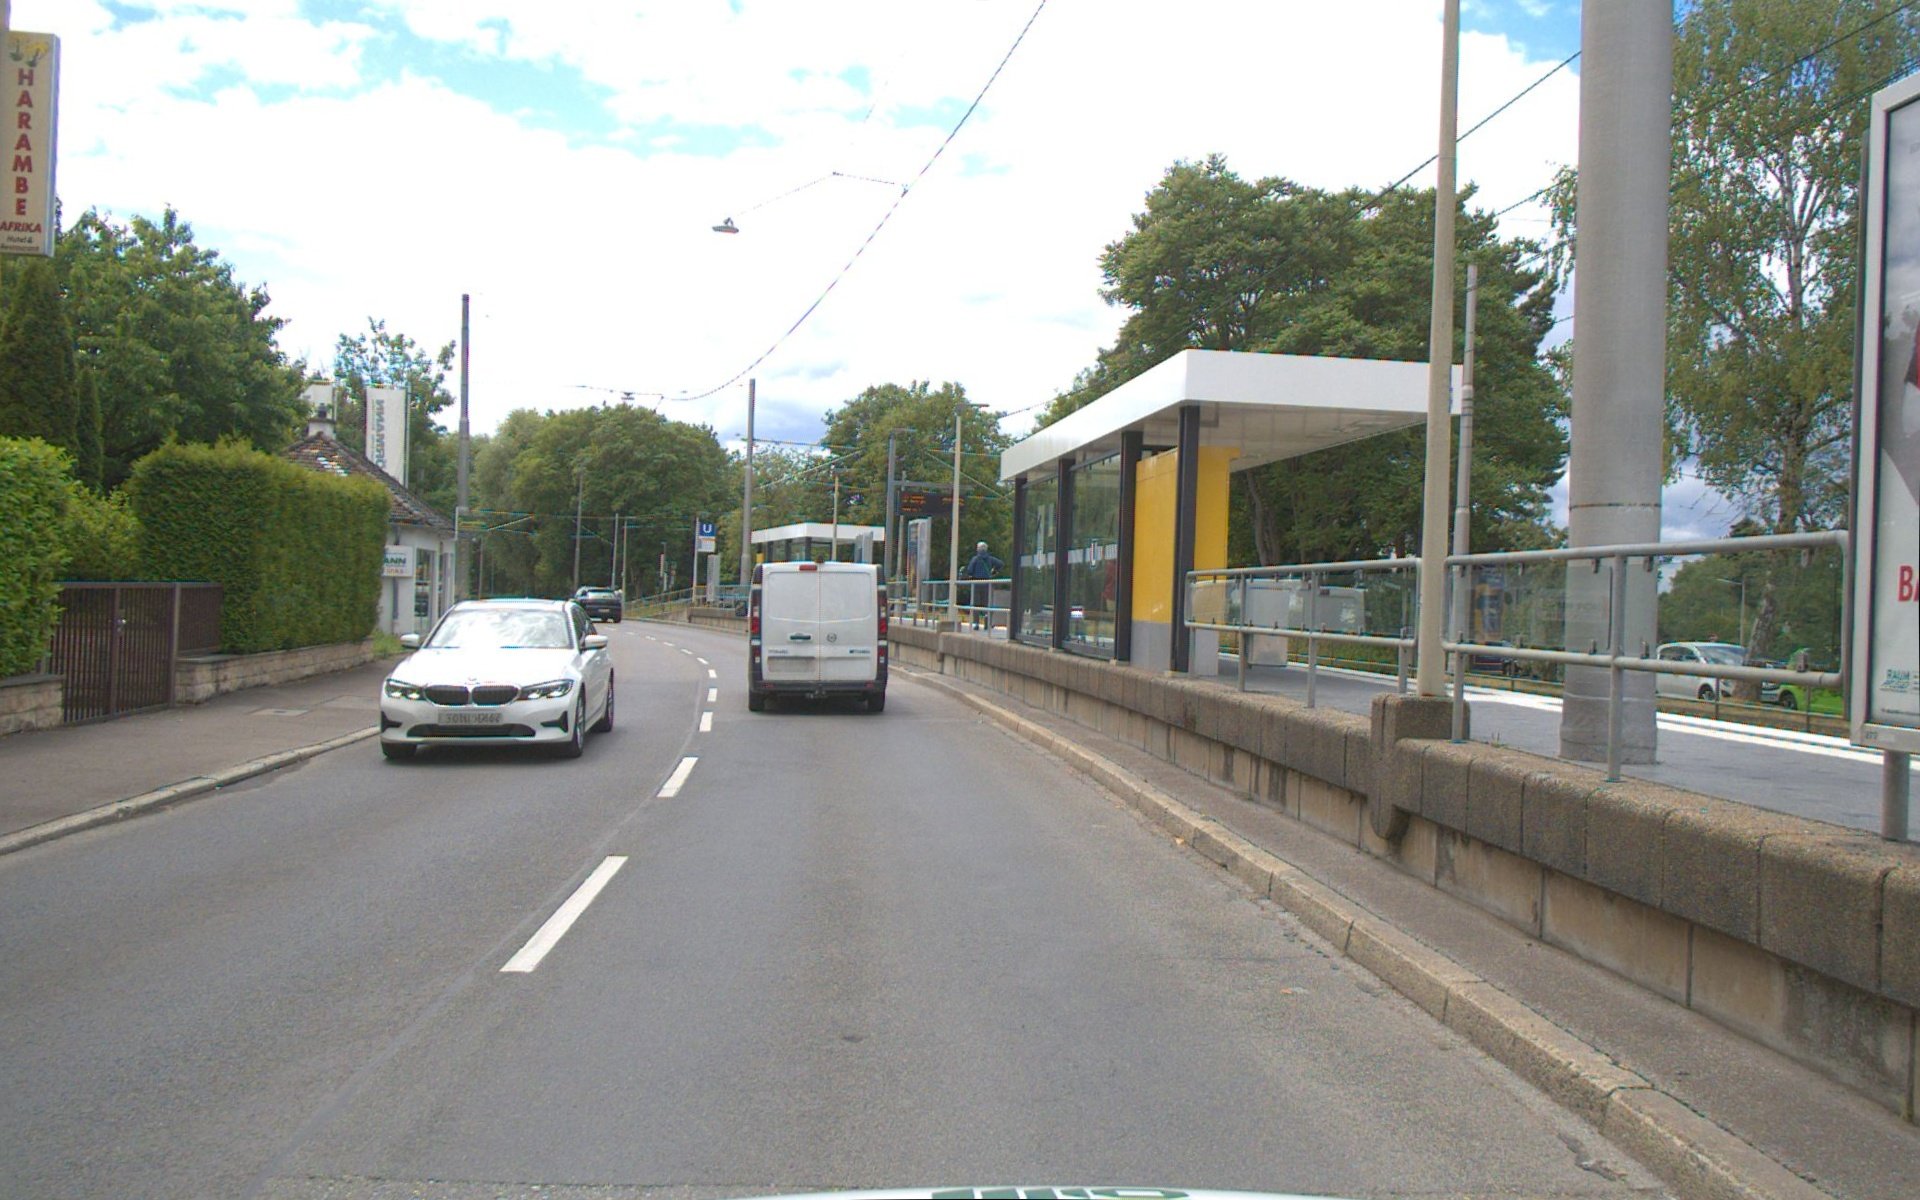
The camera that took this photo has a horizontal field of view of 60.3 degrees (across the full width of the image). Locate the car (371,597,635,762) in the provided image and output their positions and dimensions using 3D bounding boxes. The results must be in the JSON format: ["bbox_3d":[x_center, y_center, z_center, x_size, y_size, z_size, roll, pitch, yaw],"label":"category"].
[{"bbox_3d":[-4.489,0.697,16.909,1.783,1.444,4.459,0,0,-5],"label":"car"}]

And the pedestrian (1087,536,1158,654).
[{"bbox_3d":[1.877,-0.055,19.189,0.609,1.321,0.718,2,0,-10],"label":"pedestrian"}]

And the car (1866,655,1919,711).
[{"bbox_3d":[27.953,2.407,47.790,1.719,1.514,3.902,1,-1,6],"label":"car"}]

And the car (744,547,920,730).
[{"bbox_3d":[-1.848,0.484,23.332,2.076,2.171,5.434,3,0,-6],"label":"car"}]

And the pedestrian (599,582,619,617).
[{"bbox_3d":[-18.476,-0.009,87.110,0.754,1.826,0.621,2,-1,-43],"label":"pedestrian"}]

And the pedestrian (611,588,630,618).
[{"bbox_3d":[-17.510,0.175,85.290,0.754,1.518,0.621,2,-1,-43],"label":"pedestrian"}]

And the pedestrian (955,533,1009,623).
[{"bbox_3d":[0.422,-0.432,32.286,0.869,1.700,0.908,2,0,-8],"label":"pedestrian"}]

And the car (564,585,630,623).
[{"bbox_3d":[-16.864,0.180,76.641,2.321,1.591,4.346,4,-1,-20],"label":"car"}]

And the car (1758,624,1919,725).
[{"bbox_3d":[16.308,1.304,29.745,1.696,1.601,3.996,2,0,-5],"label":"car"}]

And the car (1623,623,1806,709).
[{"bbox_3d":[15.900,1.349,35.096,1.722,1.601,4.096,2,0,-5],"label":"car"}]
